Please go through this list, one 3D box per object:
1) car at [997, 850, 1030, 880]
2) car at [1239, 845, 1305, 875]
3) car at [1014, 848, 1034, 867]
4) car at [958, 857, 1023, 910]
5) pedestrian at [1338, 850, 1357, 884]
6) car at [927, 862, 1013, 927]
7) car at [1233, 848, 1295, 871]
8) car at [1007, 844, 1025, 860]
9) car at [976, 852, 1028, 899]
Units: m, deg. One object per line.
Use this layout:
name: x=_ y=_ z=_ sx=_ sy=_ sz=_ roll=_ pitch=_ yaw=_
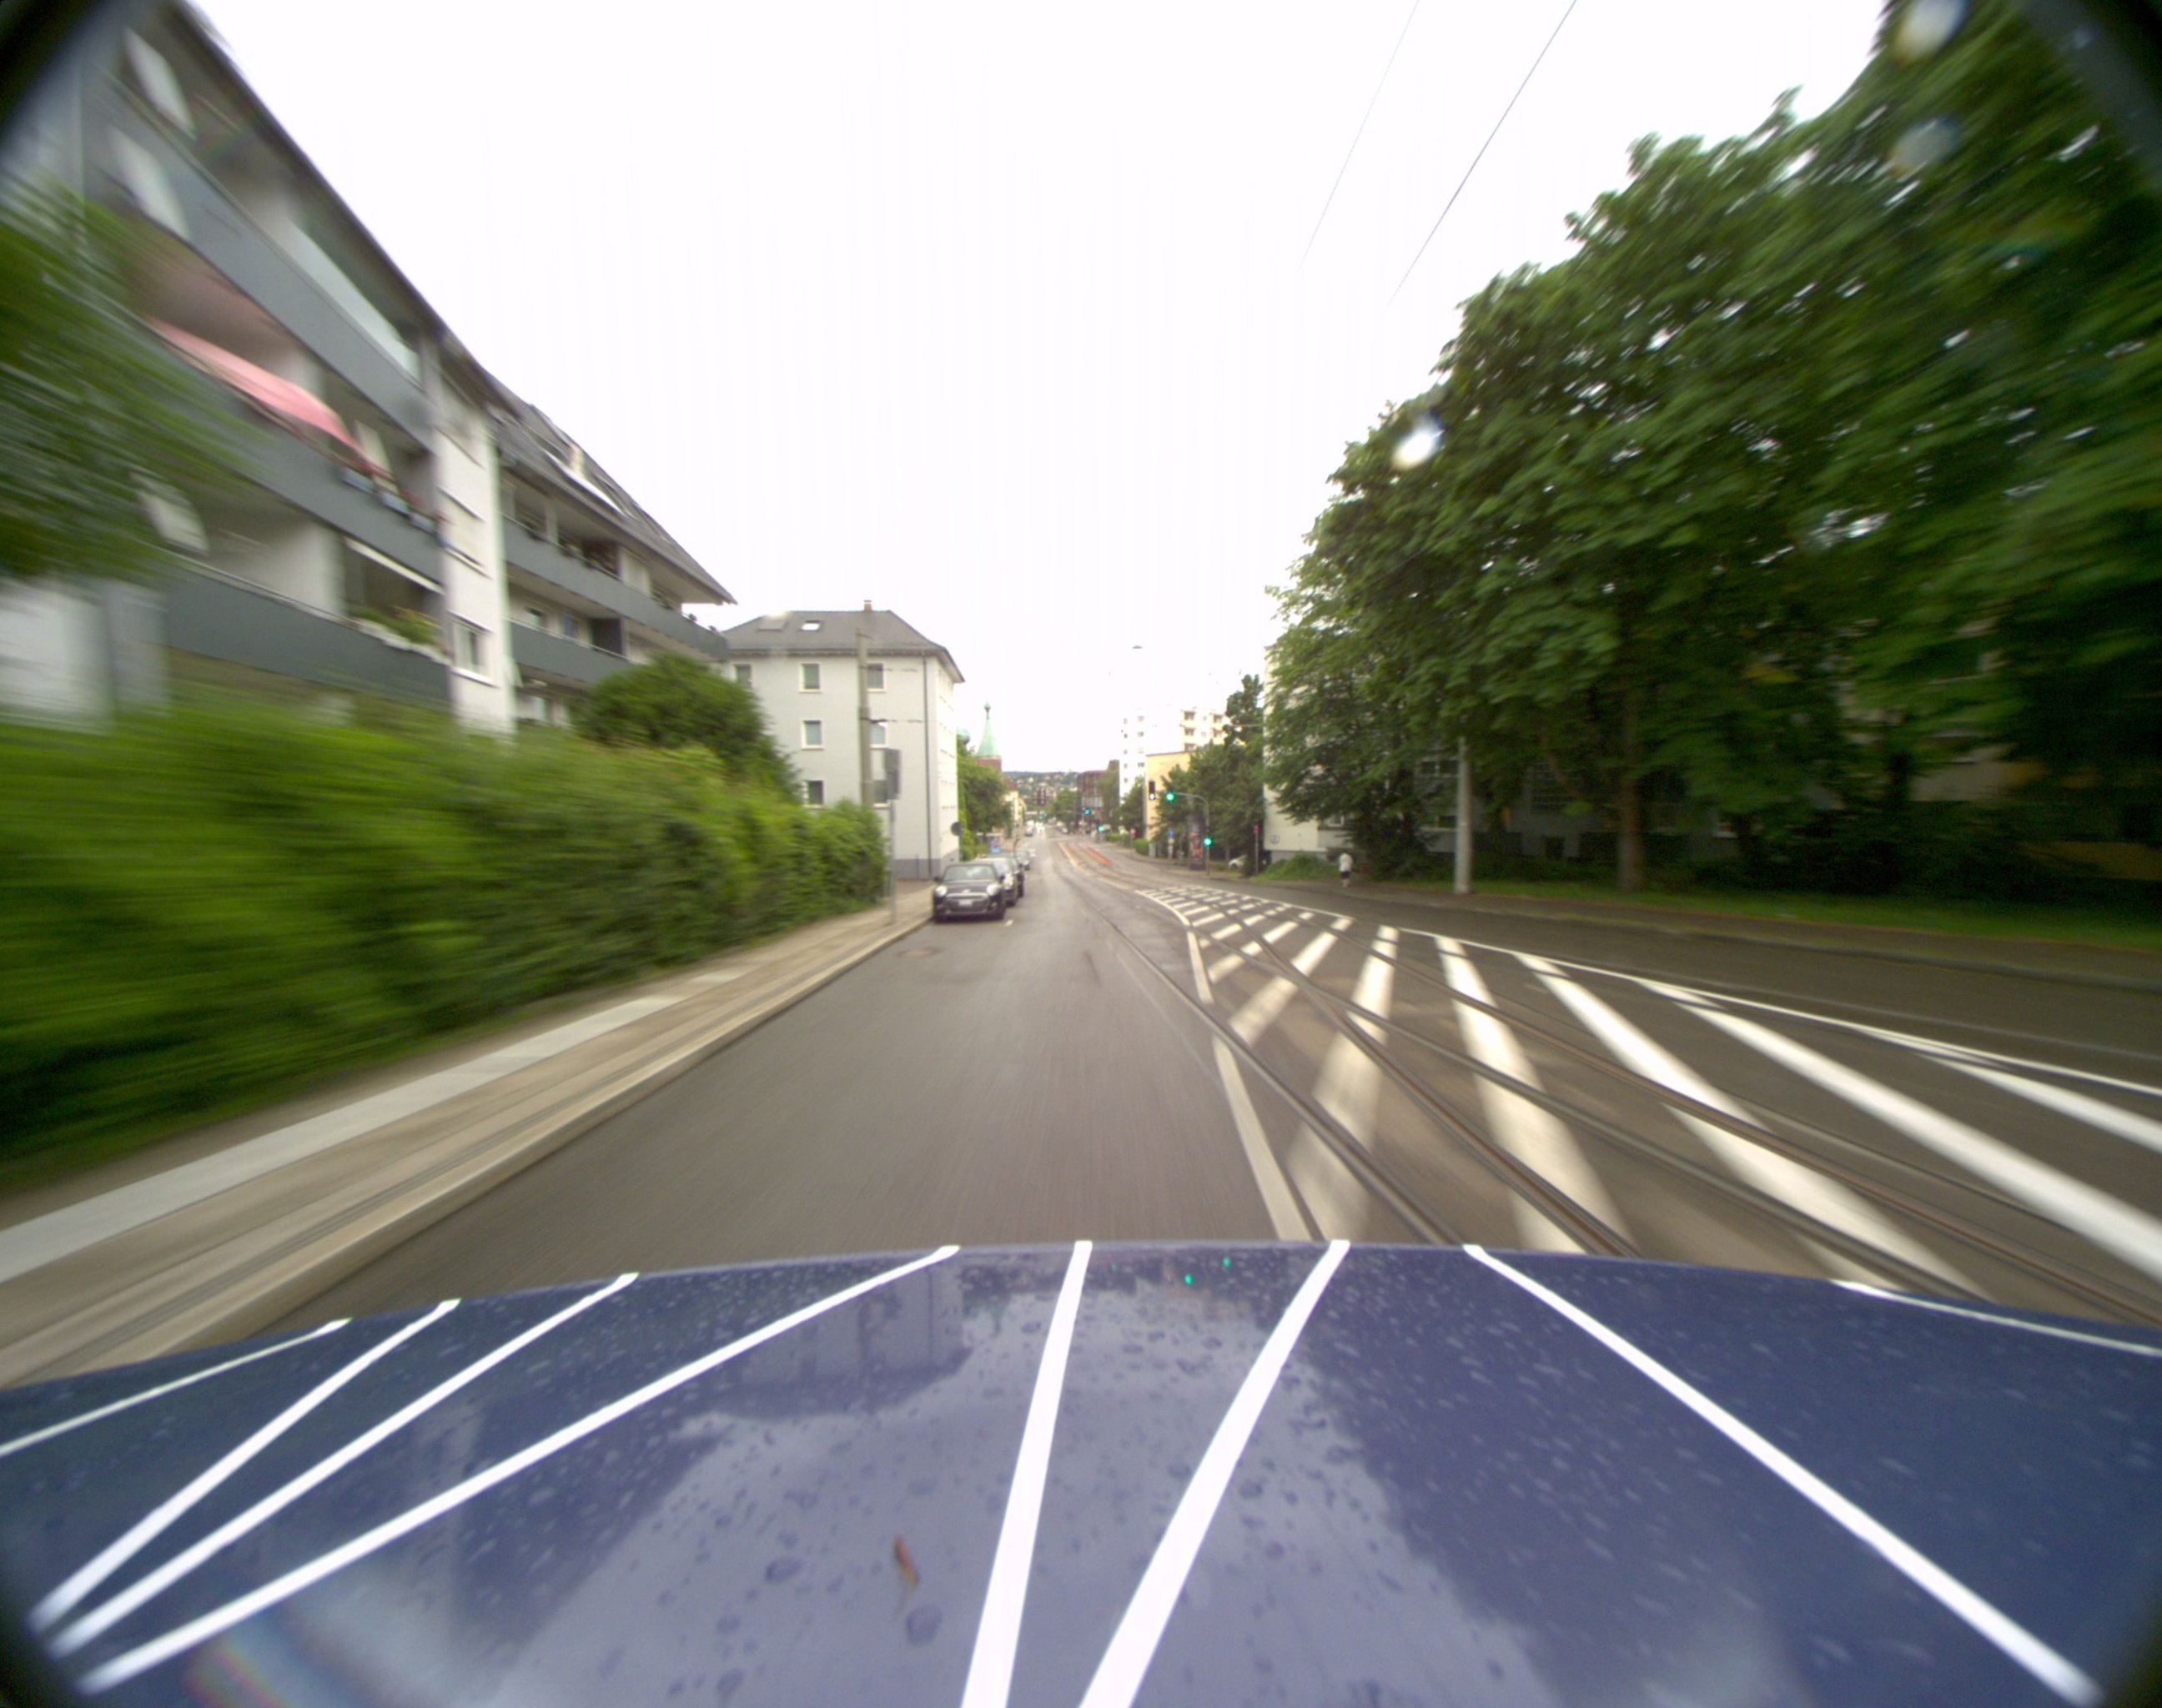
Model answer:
car: x=-4.090 y=0.656 z=46.623 sx=1.726 sy=1.673 sz=3.999 roll=-2 pitch=1 yaw=-2
car: x=12.633 y=0.404 z=50.524 sx=3.994 sy=1.740 sz=2.001 roll=-3 pitch=1 yaw=8
car: x=-5.272 y=0.331 z=70.826 sx=1.726 sy=1.673 sz=3.999 roll=-2 pitch=1 yaw=-2
car: x=-2.831 y=0.887 z=24.543 sx=1.726 sy=1.479 sz=3.999 roll=-2 pitch=1 yaw=-2
pedestrian: x=11.271 y=0.555 z=32.154 sx=0.529 sy=1.418 sz=0.528 roll=-3 pitch=1 yaw=-1
car: x=-2.719 y=0.961 z=19.475 sx=1.726 sy=1.350 sz=3.999 roll=-2 pitch=1 yaw=-2
car: x=12.820 y=0.362 z=53.404 sx=3.994 sy=1.379 sz=1.785 roll=-3 pitch=1 yaw=8
car: x=-7.271 y=-0.211 z=84.909 sx=1.726 sy=1.673 sz=3.999 roll=-2 pitch=1 yaw=-2
car: x=-3.040 y=0.784 z=29.959 sx=1.726 sy=1.673 sz=3.999 roll=-2 pitch=1 yaw=-2
